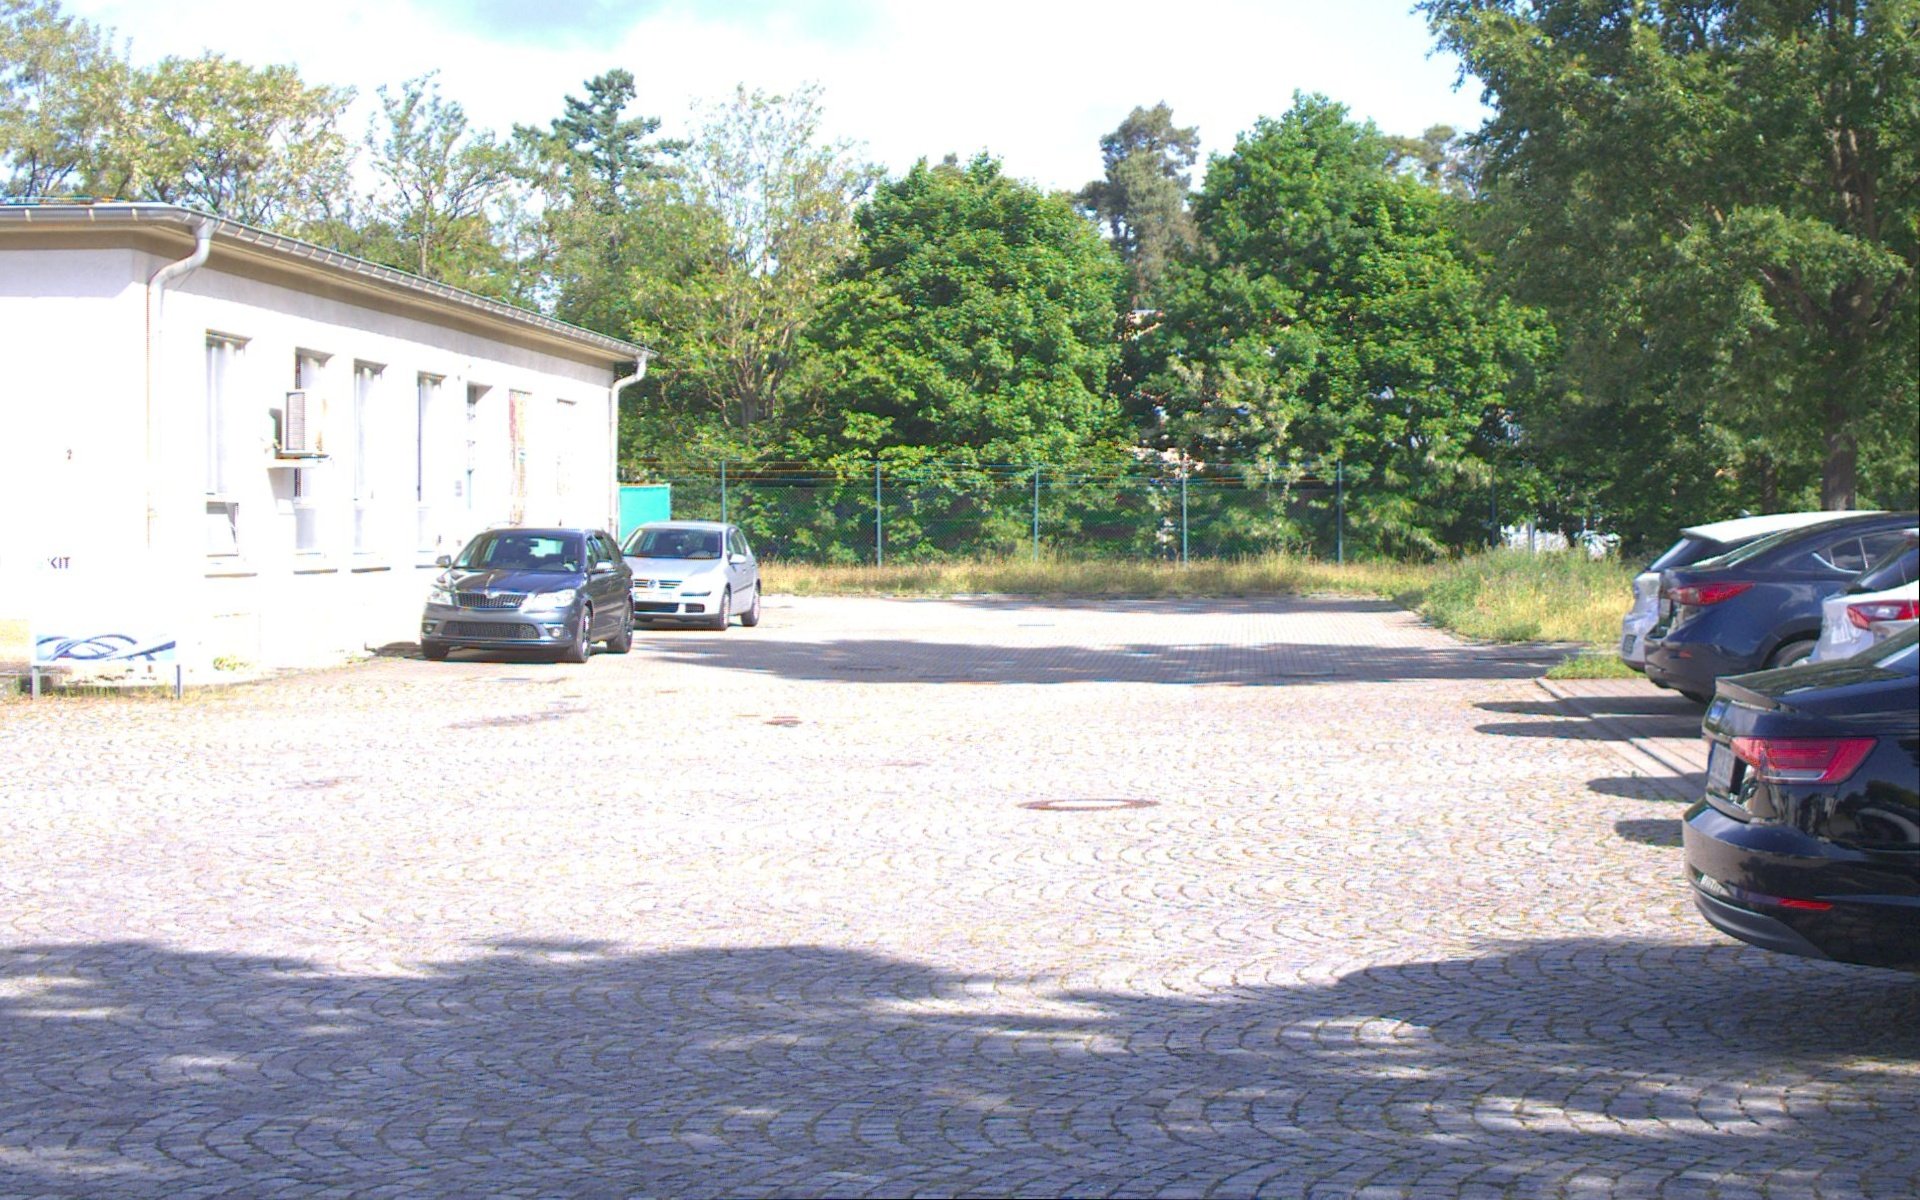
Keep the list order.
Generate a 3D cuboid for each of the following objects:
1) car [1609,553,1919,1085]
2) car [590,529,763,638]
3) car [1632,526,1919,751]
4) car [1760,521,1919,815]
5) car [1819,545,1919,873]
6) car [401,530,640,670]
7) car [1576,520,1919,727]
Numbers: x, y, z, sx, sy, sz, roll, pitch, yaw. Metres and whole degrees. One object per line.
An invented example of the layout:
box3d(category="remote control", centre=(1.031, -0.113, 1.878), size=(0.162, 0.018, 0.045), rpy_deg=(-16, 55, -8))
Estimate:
box3d(category="car", centre=(4.412, 0.539, 10.087), size=(4.719, 1.418, 1.757), rpy_deg=(-1, 1, 4))
box3d(category="car", centre=(-3.877, -0.262, 47.562), size=(1.687, 1.430, 3.986), rpy_deg=(1, 1, 6))
box3d(category="car", centre=(6.554, 0.209, 22.883), size=(3.913, 1.412, 1.692), rpy_deg=(-1, 1, 6))
box3d(category="car", centre=(6.247, 0.282, 17.713), size=(3.913, 1.441, 1.755), rpy_deg=(-1, 1, 6))
box3d(category="car", centre=(5.927, 0.405, 15.160), size=(3.913, 1.367, 1.728), rpy_deg=(-1, 1, 6))
box3d(category="car", centre=(-4.770, -0.040, 37.844), size=(1.764, 1.430, 3.991), rpy_deg=(1, 1, 6))
box3d(category="car", centre=(6.648, 0.139, 25.539), size=(3.913, 1.430, 1.795), rpy_deg=(-1, 1, 6))
